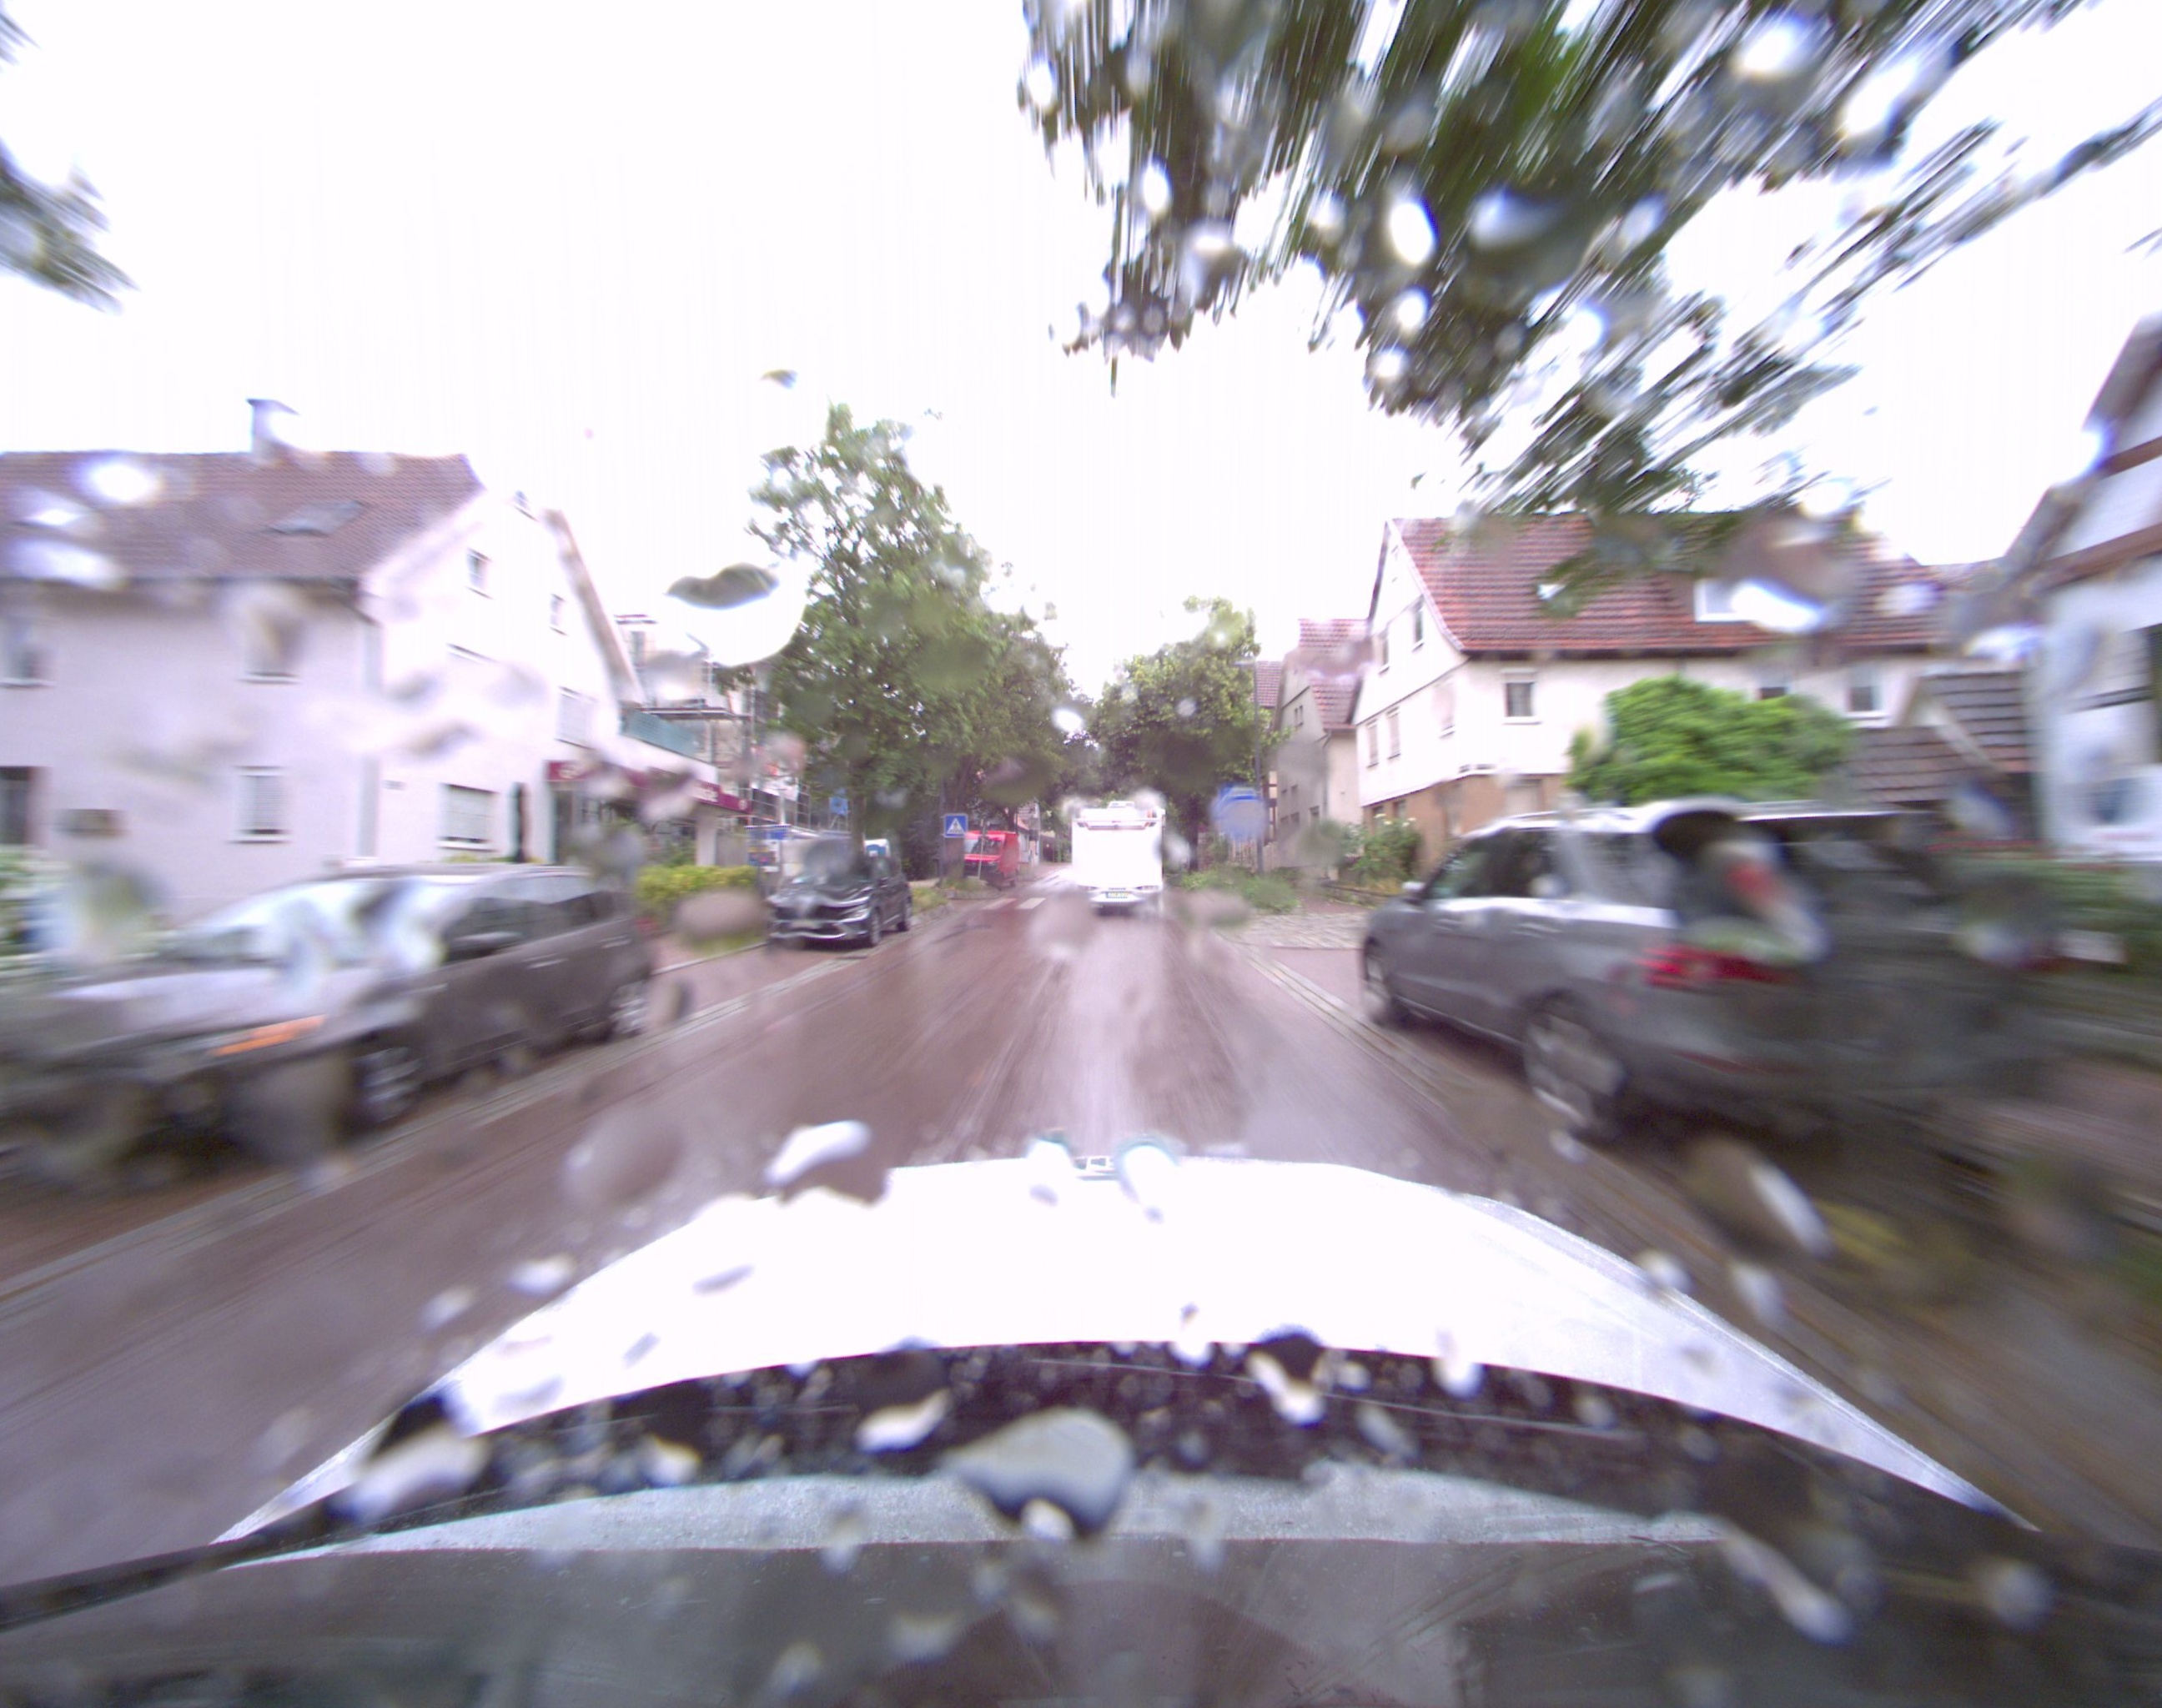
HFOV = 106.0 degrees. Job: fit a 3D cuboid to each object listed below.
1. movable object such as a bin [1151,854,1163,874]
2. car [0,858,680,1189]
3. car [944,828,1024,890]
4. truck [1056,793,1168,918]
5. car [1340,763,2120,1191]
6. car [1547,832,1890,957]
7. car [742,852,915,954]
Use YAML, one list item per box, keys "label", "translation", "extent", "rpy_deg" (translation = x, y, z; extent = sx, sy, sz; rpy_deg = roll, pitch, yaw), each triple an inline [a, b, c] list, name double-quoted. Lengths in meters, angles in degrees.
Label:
- label: "movable object such as a bin"
  translation: [4.572, 0.592, 49.089]
  extent: [0.718, 1.212, 0.727]
  rpy_deg: [0, 0, 2]
- label: "car"
  translation: [-4.767, 0.815, 5.849]
  extent: [1.640, 1.533, 3.869]
  rpy_deg: [1, 0, 4]
- label: "car"
  translation: [-4.063, 0.158, 35.208]
  extent: [2.293, 2.483, 5.792]
  rpy_deg: [0, 1, 4]
- label: "truck"
  translation: [0.854, 0.062, 22.698]
  extent: [2.684, 2.986, 6.239]
  rpy_deg: [0, 0, 2]
- label: "car"
  translation: [3.451, 0.520, 5.679]
  extent: [1.908, 1.792, 4.488]
  rpy_deg: [0, 0, 1]
- label: "car"
  translation: [8.427, 0.503, 10.970]
  extent: [3.355, 1.430, 1.629]
  rpy_deg: [-2, 0, -2]
- label: "car"
  translation: [-4.408, 0.767, 14.879]
  extent: [1.765, 1.553, 4.002]
  rpy_deg: [1, 0, 2]
